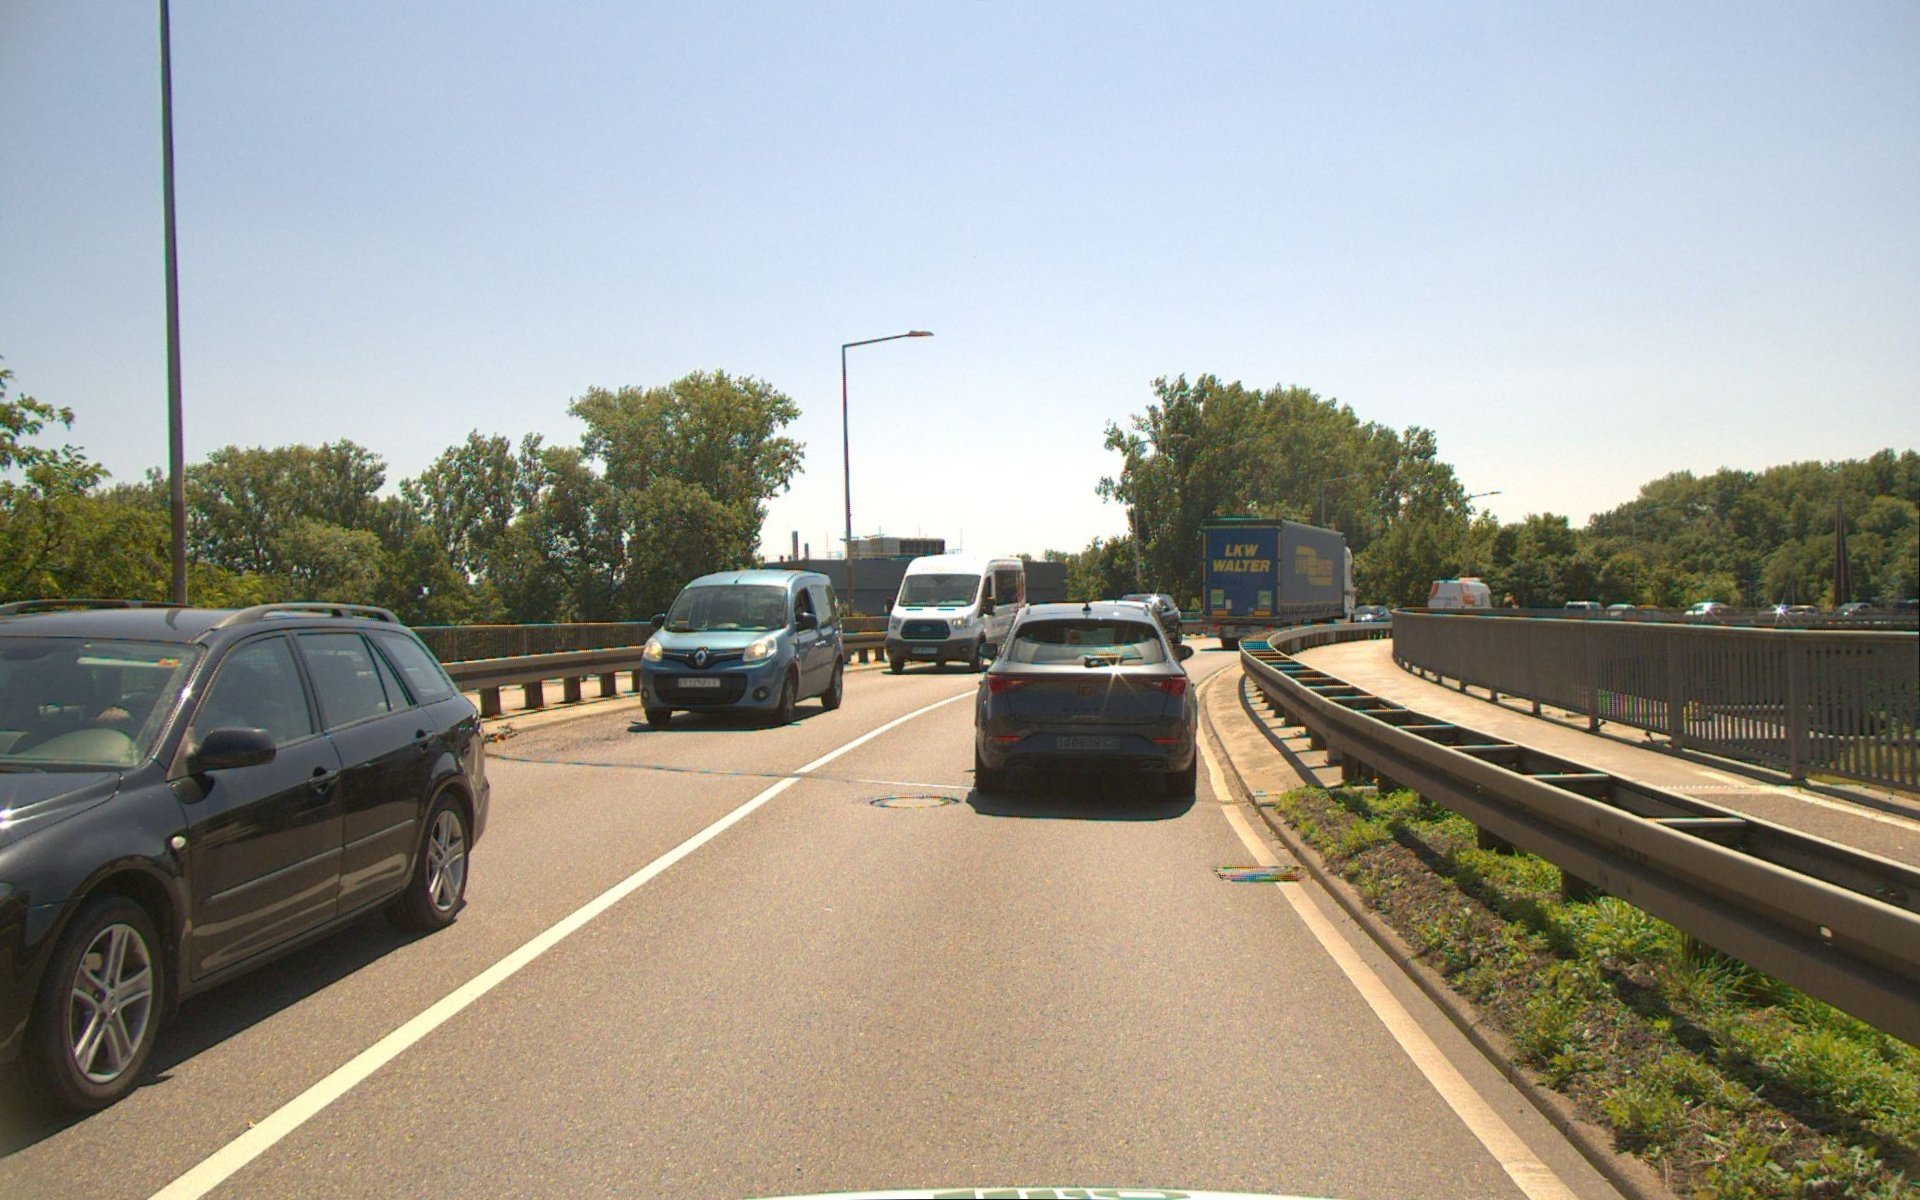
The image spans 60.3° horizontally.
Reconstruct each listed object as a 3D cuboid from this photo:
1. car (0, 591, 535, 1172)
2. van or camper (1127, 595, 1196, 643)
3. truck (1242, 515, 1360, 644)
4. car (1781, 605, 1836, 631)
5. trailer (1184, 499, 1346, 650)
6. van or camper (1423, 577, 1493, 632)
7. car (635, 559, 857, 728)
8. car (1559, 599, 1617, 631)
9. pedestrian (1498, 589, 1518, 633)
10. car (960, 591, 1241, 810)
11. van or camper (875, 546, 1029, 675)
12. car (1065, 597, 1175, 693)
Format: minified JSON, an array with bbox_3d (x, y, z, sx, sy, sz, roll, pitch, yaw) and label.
[{"bbox_3d":[-3.155,0.709,6.105,1.720,1.468,4.570,0,0,4],"label":"car"},{"bbox_3d":[7.962,0.738,65.033,1.951,1.791,4.701,-1,-1,16],"label":"van or camper"},{"bbox_3d":[13.285,-0.704,64.015,3.105,4.665,7.394,0,-1,22],"label":"truck"},{"bbox_3d":[62.485,1.327,121.803,3.950,1.882,1.873,1,-1,-33],"label":"car"},{"bbox_3d":[10.970,-0.771,58.073,3.070,4.695,12.946,1,0,22],"label":"trailer"},{"bbox_3d":[26.021,0.214,86.321,2.162,2.758,5.913,0,0,31],"label":"van or camper"},{"bbox_3d":[-2.545,0.485,20.687,1.719,1.887,4.278,0,0,7],"label":"car"},{"bbox_3d":[38.005,0.920,100.104,1.863,1.882,3.972,0,-1,44],"label":"car"},{"bbox_3d":[25.450,0.515,76.846,0.723,2.002,0.733,0,-1,31],"label":"pedestrian"},{"bbox_3d":[0.993,0.695,13.481,1.808,1.525,3.756,0,0,-3],"label":"car"},{"bbox_3d":[-0.047,0.169,36.040,2.004,2.582,5.889,-1,1,13],"label":"van or camper"},{"bbox_3d":[2.739,0.711,27.750,1.559,1.486,3.548,1,0,10],"label":"car"}]
